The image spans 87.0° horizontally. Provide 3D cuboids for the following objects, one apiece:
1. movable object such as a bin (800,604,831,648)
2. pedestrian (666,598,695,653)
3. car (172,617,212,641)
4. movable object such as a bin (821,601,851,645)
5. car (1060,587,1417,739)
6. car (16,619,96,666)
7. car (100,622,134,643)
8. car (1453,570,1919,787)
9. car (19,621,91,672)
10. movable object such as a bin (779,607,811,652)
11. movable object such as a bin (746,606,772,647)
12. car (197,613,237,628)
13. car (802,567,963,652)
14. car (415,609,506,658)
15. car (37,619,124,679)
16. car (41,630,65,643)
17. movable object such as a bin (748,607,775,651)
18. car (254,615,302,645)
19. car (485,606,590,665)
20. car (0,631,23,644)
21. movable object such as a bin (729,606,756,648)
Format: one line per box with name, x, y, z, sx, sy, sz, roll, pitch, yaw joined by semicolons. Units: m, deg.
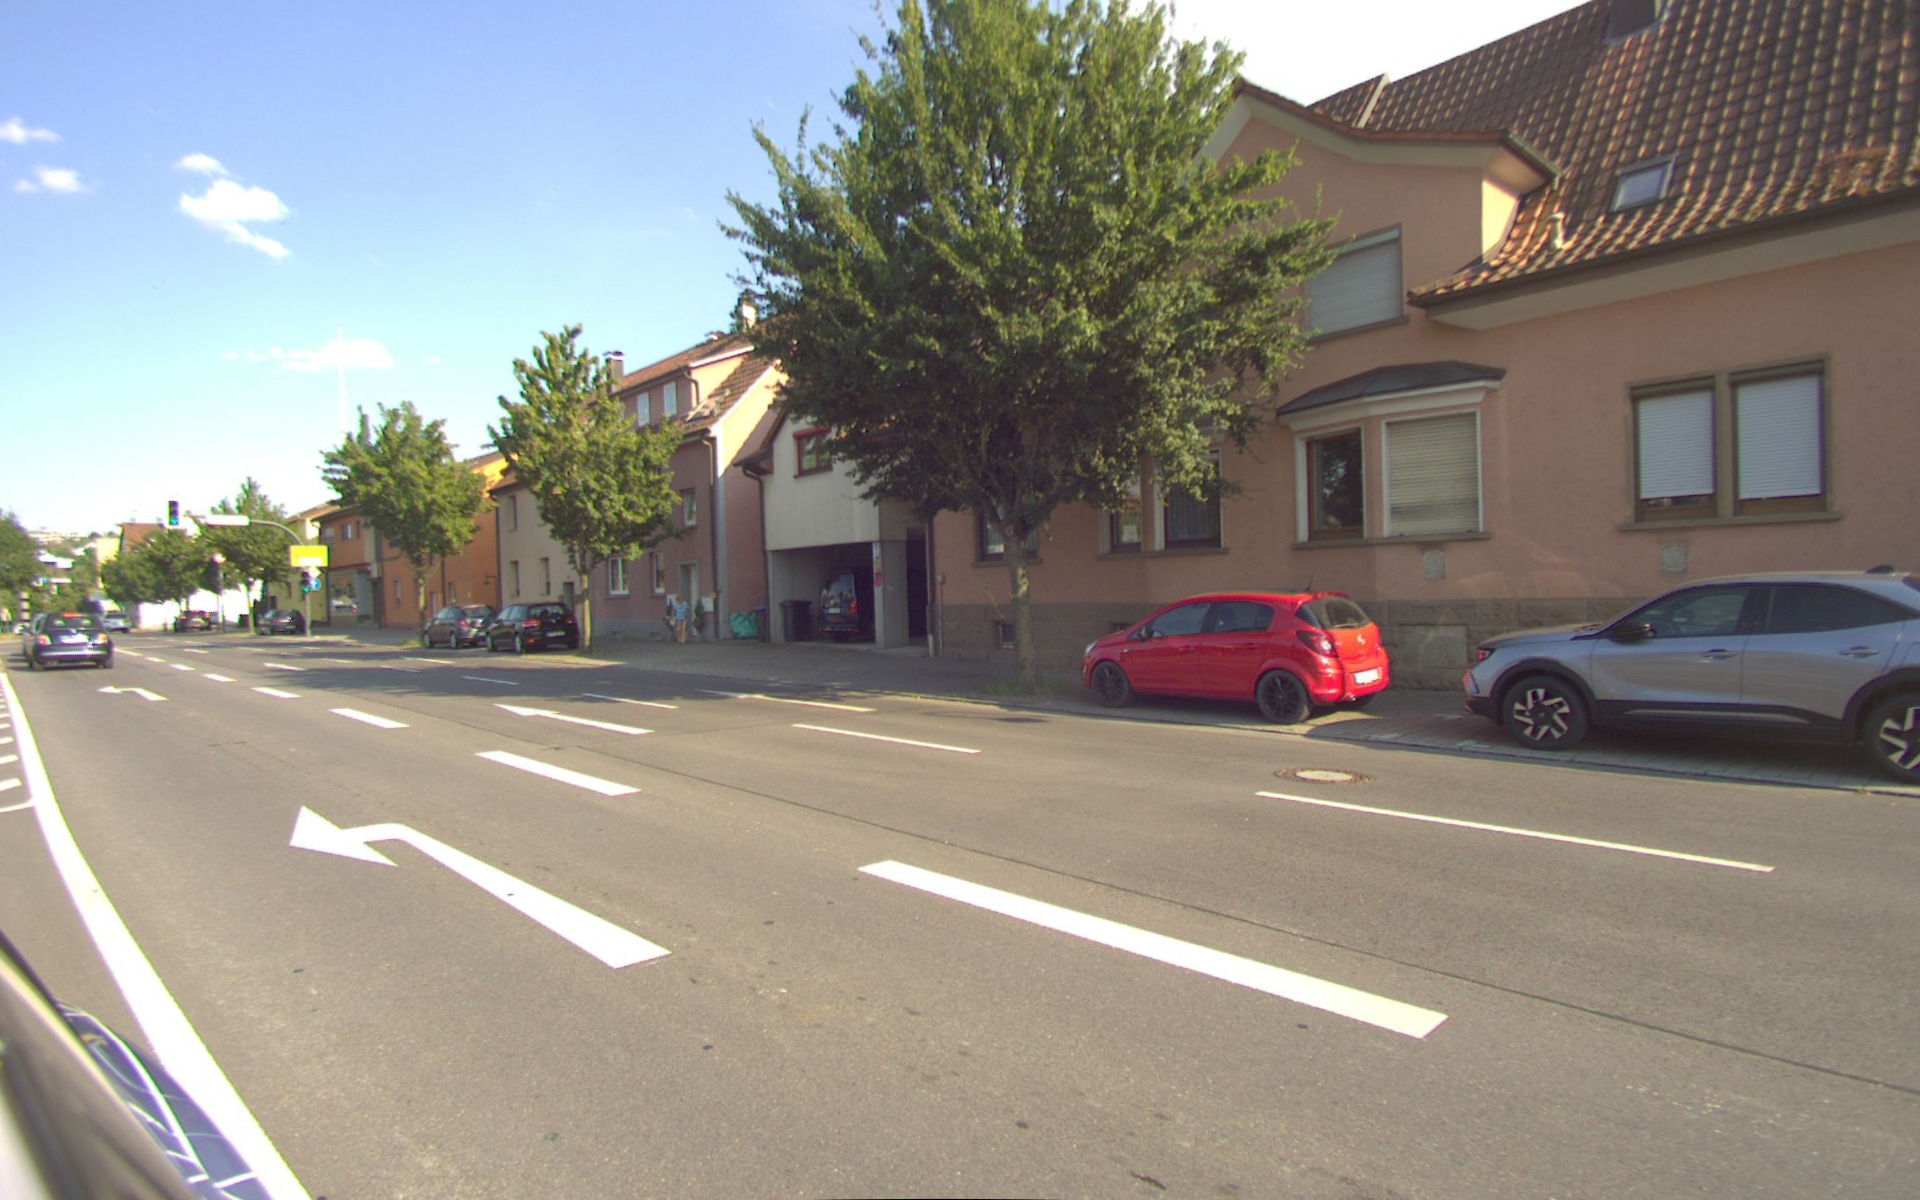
movable object such as a bin;-3.837;0.681;26.897;0.575;1.151;0.560;-2;-1;39
pedestrian;-8.391;0.745;30.347;0.765;1.619;0.725;-1;-1;-21
car;-55.815;2.108;73.523;1.833;1.607;4.464;-1;-1;-44
movable object such as a bin;-3.348;0.619;27.376;0.575;1.151;0.560;-2;-1;39
car;3.297;0.675;12.590;1.645;1.498;4.006;-5;2;-41
car;-32.162;1.485;35.968;4.567;1.500;1.814;-2;-1;44
car;-67.843;2.572;81.453;4.414;1.624;1.667;-1;0;44
car;6.709;0.572;8.730;1.734;1.490;4.006;-5;2;-41
car;-28.274;1.395;31.583;1.570;1.438;3.581;-1;0;-43
movable object such as a bin;-4.287;0.758;26.266;0.575;1.151;0.560;-2;-1;39
movable object such as a bin;-5.724;0.746;28.858;0.498;1.151;0.530;-1;-1;-43
car;-79.185;2.200;107.855;1.601;1.555;3.426;-1;-1;5
car;-1.912;0.186;25.730;3.777;1.895;1.780;-4;2;-44
car;-17.023;1.132;34.409;3.886;1.522;1.495;-2;1;44
car;-23.430;1.270;26.926;1.514;1.473;3.508;-1;-1;-45
car;-103.100;4.157;115.064;4.001;1.422;1.738;-2;-1;44
movable object such as a bin;-5.246;0.753;26.756;0.501;1.146;0.470;-2;-1;44
car;-37.556;1.655;55.708;1.573;1.449;3.779;-7;3;-42
car;-12.652;1.024;30.192;1.646;1.543;3.907;-4;2;-42
car;-111.594;4.376;119.036;4.001;1.422;1.738;-2;-1;44
movable object such as a bin;-6.124;0.764;28.491;0.544;1.151;0.530;-1;-1;-43
